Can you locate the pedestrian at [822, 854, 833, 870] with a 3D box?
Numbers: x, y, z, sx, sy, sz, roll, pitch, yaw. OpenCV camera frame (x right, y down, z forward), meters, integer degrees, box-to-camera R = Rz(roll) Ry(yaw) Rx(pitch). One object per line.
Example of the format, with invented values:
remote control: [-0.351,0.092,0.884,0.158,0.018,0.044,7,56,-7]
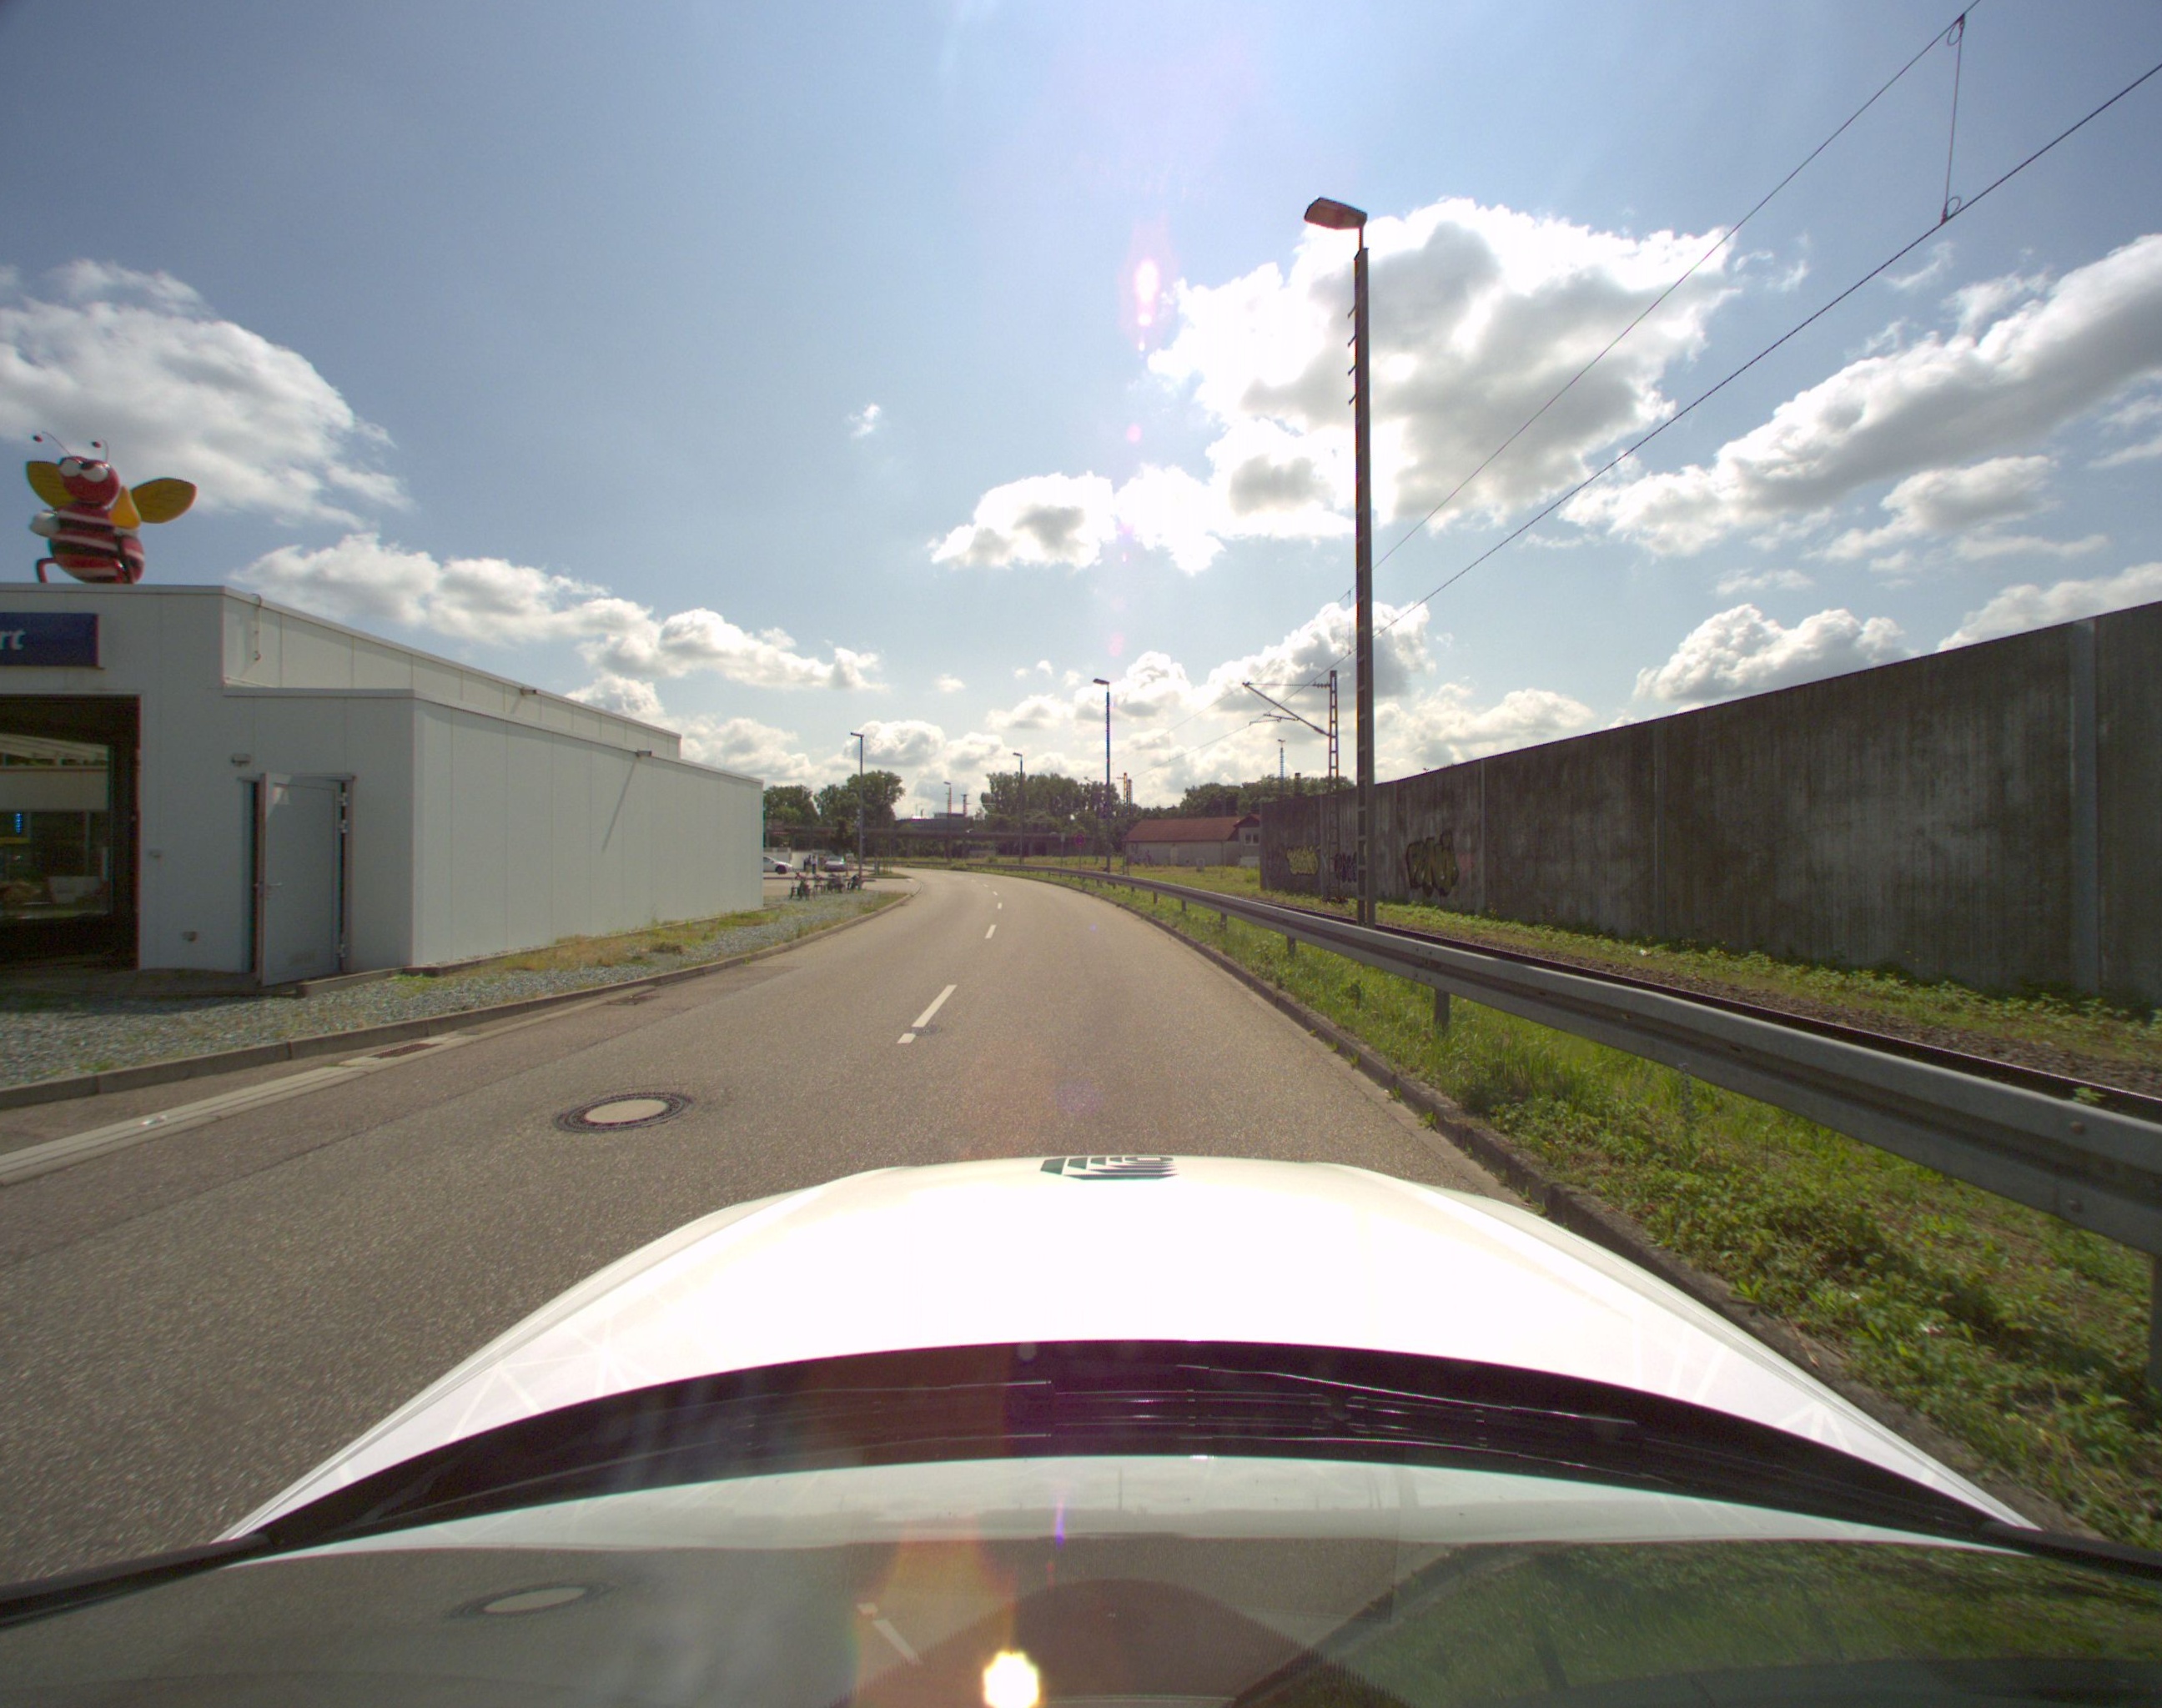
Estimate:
pedestrian: [-26.703,0.839,85.752,0.705,1.579,0.726,-1,-1,24]

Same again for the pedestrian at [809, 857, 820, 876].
pedestrian: [-22.893,1.088,69.915,0.864,1.653,0.936,0,-1,-15]

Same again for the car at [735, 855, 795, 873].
car: [-27.048,0.840,69.797,4.559,1.524,1.990,0,-1,-15]

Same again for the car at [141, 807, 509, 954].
car: [-12.735,0.398,14.343,1.989,2.109,5.003,-1,-1,-4]

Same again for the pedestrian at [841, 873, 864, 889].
pedestrian: [-10.903,1.277,38.857,0.861,0.760,0.817,1,-2,-4]

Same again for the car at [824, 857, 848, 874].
car: [-24.897,1.147,82.810,1.932,1.517,4.756,0,1,-12]

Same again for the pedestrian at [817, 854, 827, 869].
pedestrian: [-27.425,0.842,86.204,0.749,1.565,0.718,-1,-1,33]
